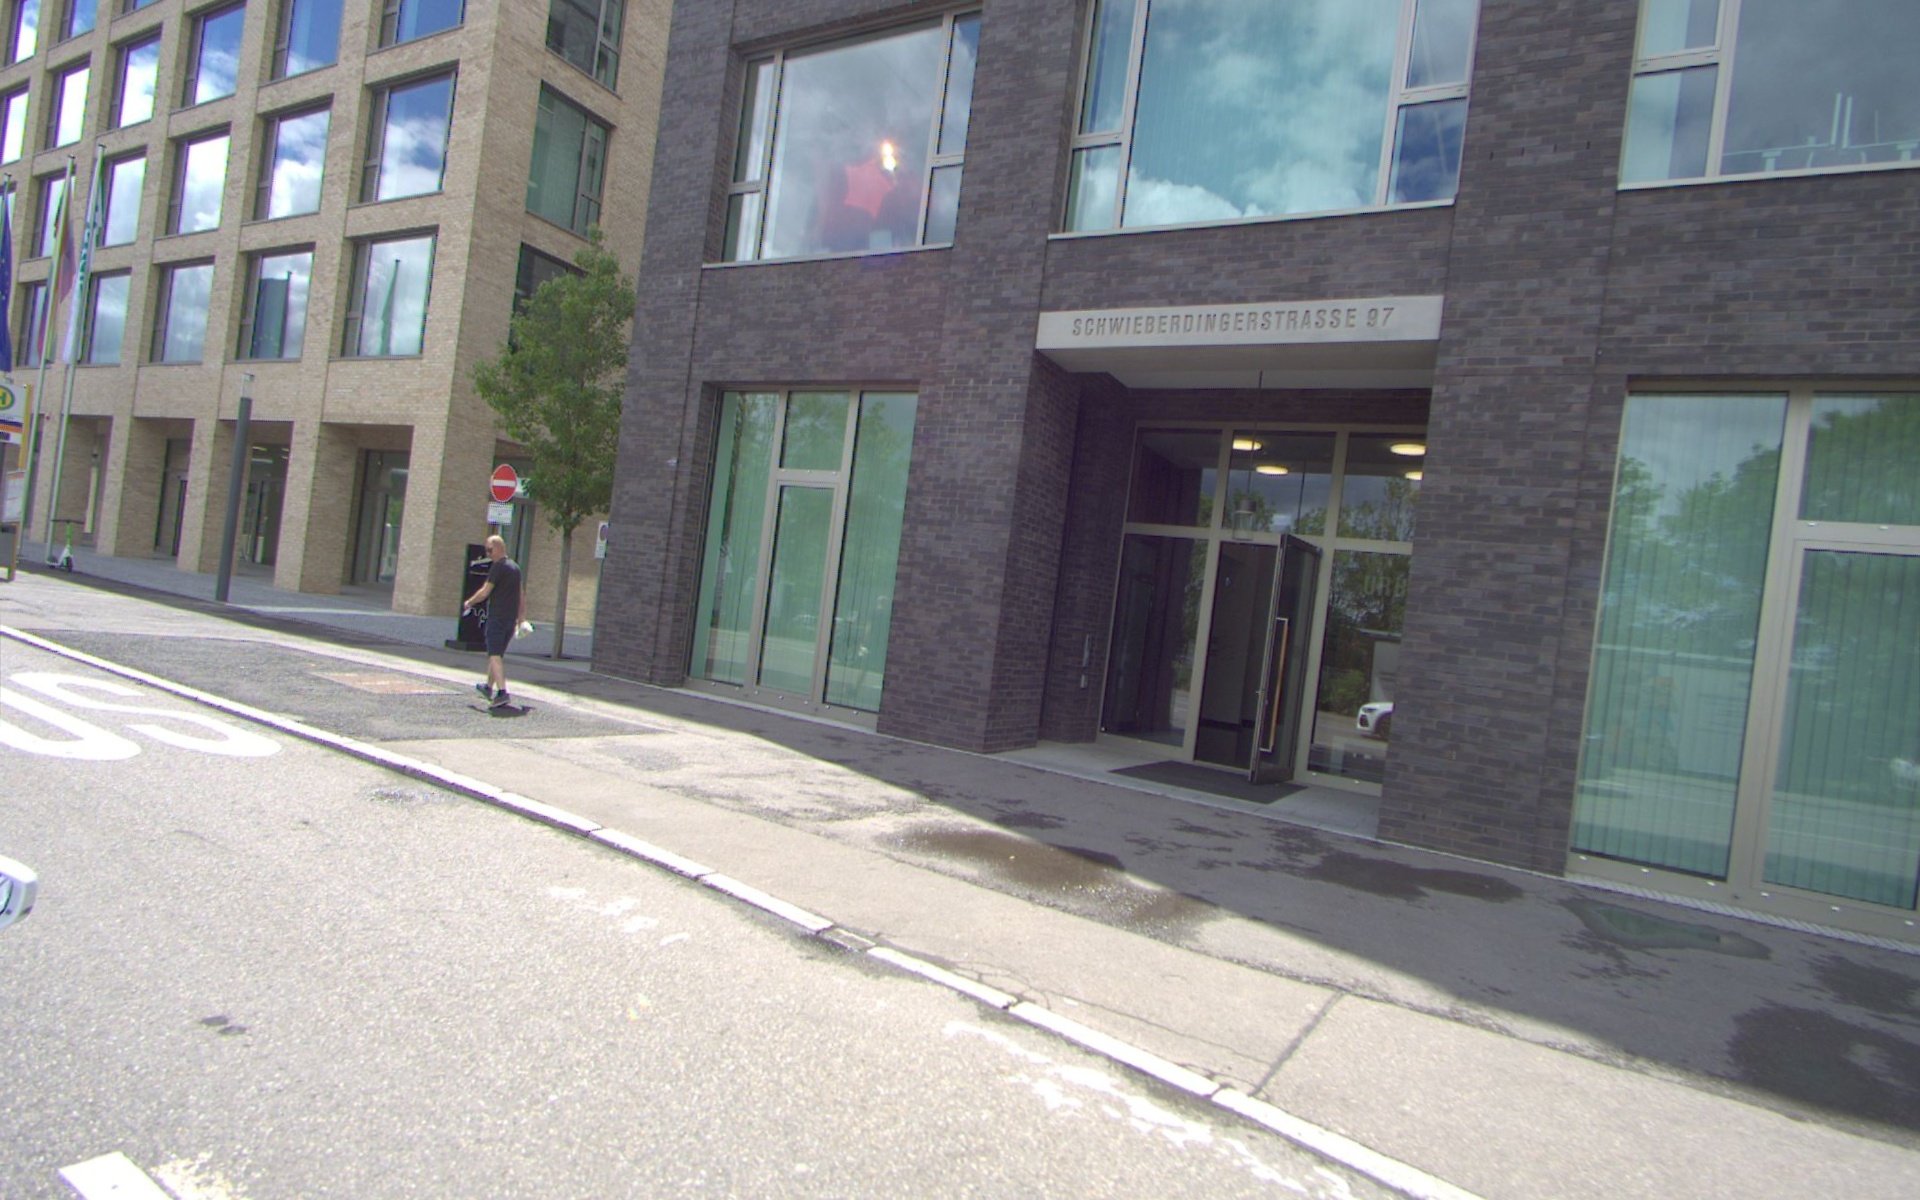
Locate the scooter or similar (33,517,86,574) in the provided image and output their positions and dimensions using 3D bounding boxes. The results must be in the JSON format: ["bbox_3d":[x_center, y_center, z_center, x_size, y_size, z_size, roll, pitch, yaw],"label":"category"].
[{"bbox_3d":[-20.439,-1.240,22.821,1.380,1.167,0.427,6,0,31],"label":"scooter or similar"}]

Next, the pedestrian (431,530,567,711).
[{"bbox_3d":[-4.827,0.218,10.540,0.946,1.748,0.684,7,0,30],"label":"pedestrian"}]
